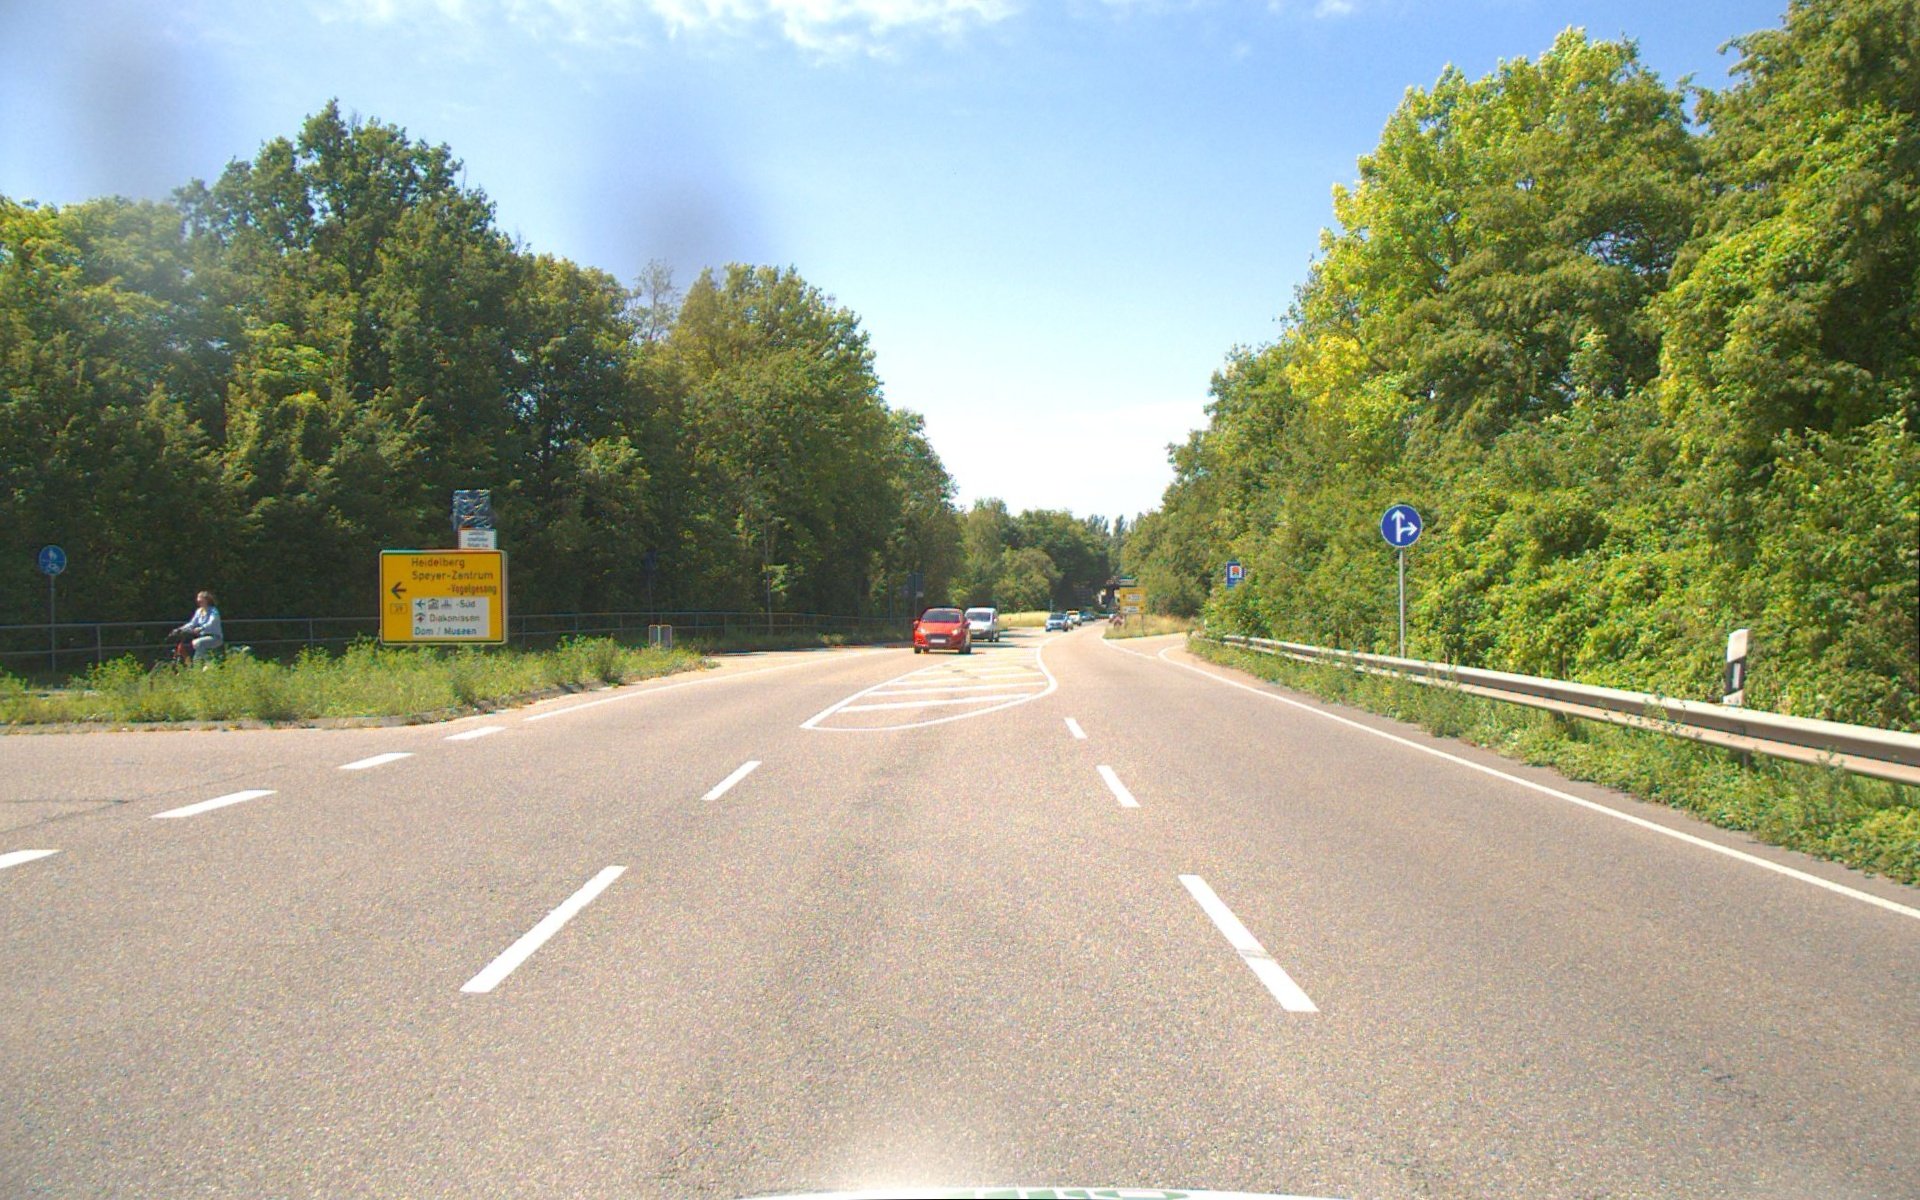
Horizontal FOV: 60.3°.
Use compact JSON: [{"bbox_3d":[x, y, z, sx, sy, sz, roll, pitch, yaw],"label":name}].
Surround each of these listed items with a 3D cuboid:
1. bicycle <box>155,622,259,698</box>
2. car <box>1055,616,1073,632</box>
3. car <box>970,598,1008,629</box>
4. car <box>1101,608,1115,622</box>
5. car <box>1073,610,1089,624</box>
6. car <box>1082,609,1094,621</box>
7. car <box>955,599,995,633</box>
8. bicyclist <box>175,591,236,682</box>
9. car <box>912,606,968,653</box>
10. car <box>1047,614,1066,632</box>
[{"bbox_3d":[-11.684,0.910,25.696,0.427,1.133,1.477,-1,-1,33],"label":"bicycle"},{"bbox_3d":[10.722,2.437,170.352,1.641,1.554,4.003,0,0,7],"label":"car"},{"bbox_3d":[3.121,1.481,178.348,1.971,3.282,4.763,0,0,-29],"label":"car"},{"bbox_3d":[19.618,1.960,219.068,1.805,1.714,4.002,0,1,4],"label":"car"},{"bbox_3d":[14.266,2.035,194.977,1.683,1.555,3.712,0,0,6],"label":"car"},{"bbox_3d":[18.086,2.124,233.504,1.683,1.535,3.712,0,0,6],"label":"car"},{"bbox_3d":[0.845,0.849,88.857,1.952,1.760,4.276,0,0,3],"label":"car"},{"bbox_3d":[-11.711,0.560,25.671,0.675,1.387,0.607,-1,-1,34],"label":"bicyclist"},{"bbox_3d":[-0.663,0.953,54.863,1.773,1.483,3.757,0,0,-1],"label":"car"},{"bbox_3d":[9.043,2.121,154.513,1.642,1.554,4.002,0,0,5],"label":"car"}]
